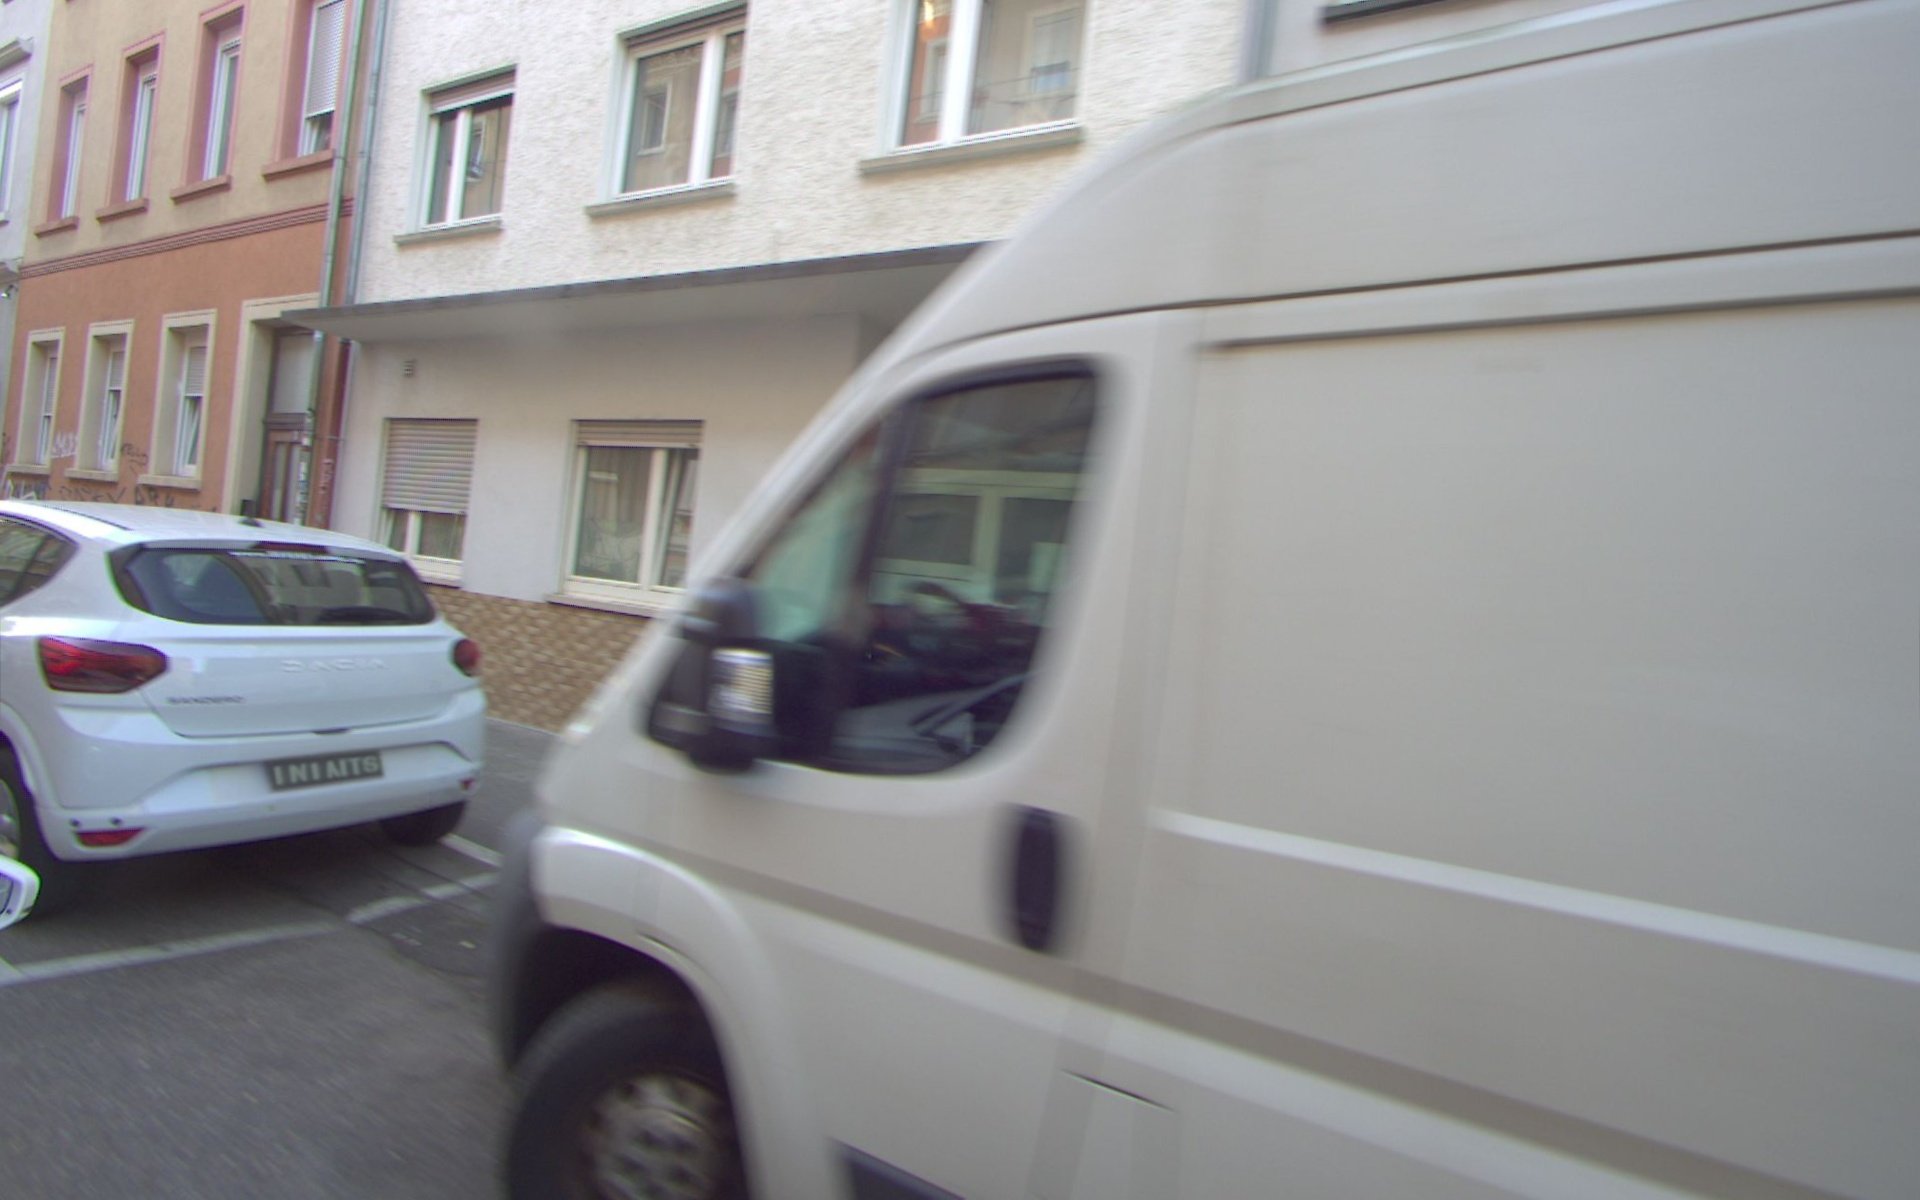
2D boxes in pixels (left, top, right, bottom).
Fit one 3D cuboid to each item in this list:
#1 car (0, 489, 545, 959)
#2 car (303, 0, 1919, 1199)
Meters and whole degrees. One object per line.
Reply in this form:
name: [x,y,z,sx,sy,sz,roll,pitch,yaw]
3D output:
car: [-4.167,0.272,4.951,3.952,1.488,1.734,7,0,29]
car: [1.642,0.413,1.769,5.935,2.583,2.207,7,0,32]
